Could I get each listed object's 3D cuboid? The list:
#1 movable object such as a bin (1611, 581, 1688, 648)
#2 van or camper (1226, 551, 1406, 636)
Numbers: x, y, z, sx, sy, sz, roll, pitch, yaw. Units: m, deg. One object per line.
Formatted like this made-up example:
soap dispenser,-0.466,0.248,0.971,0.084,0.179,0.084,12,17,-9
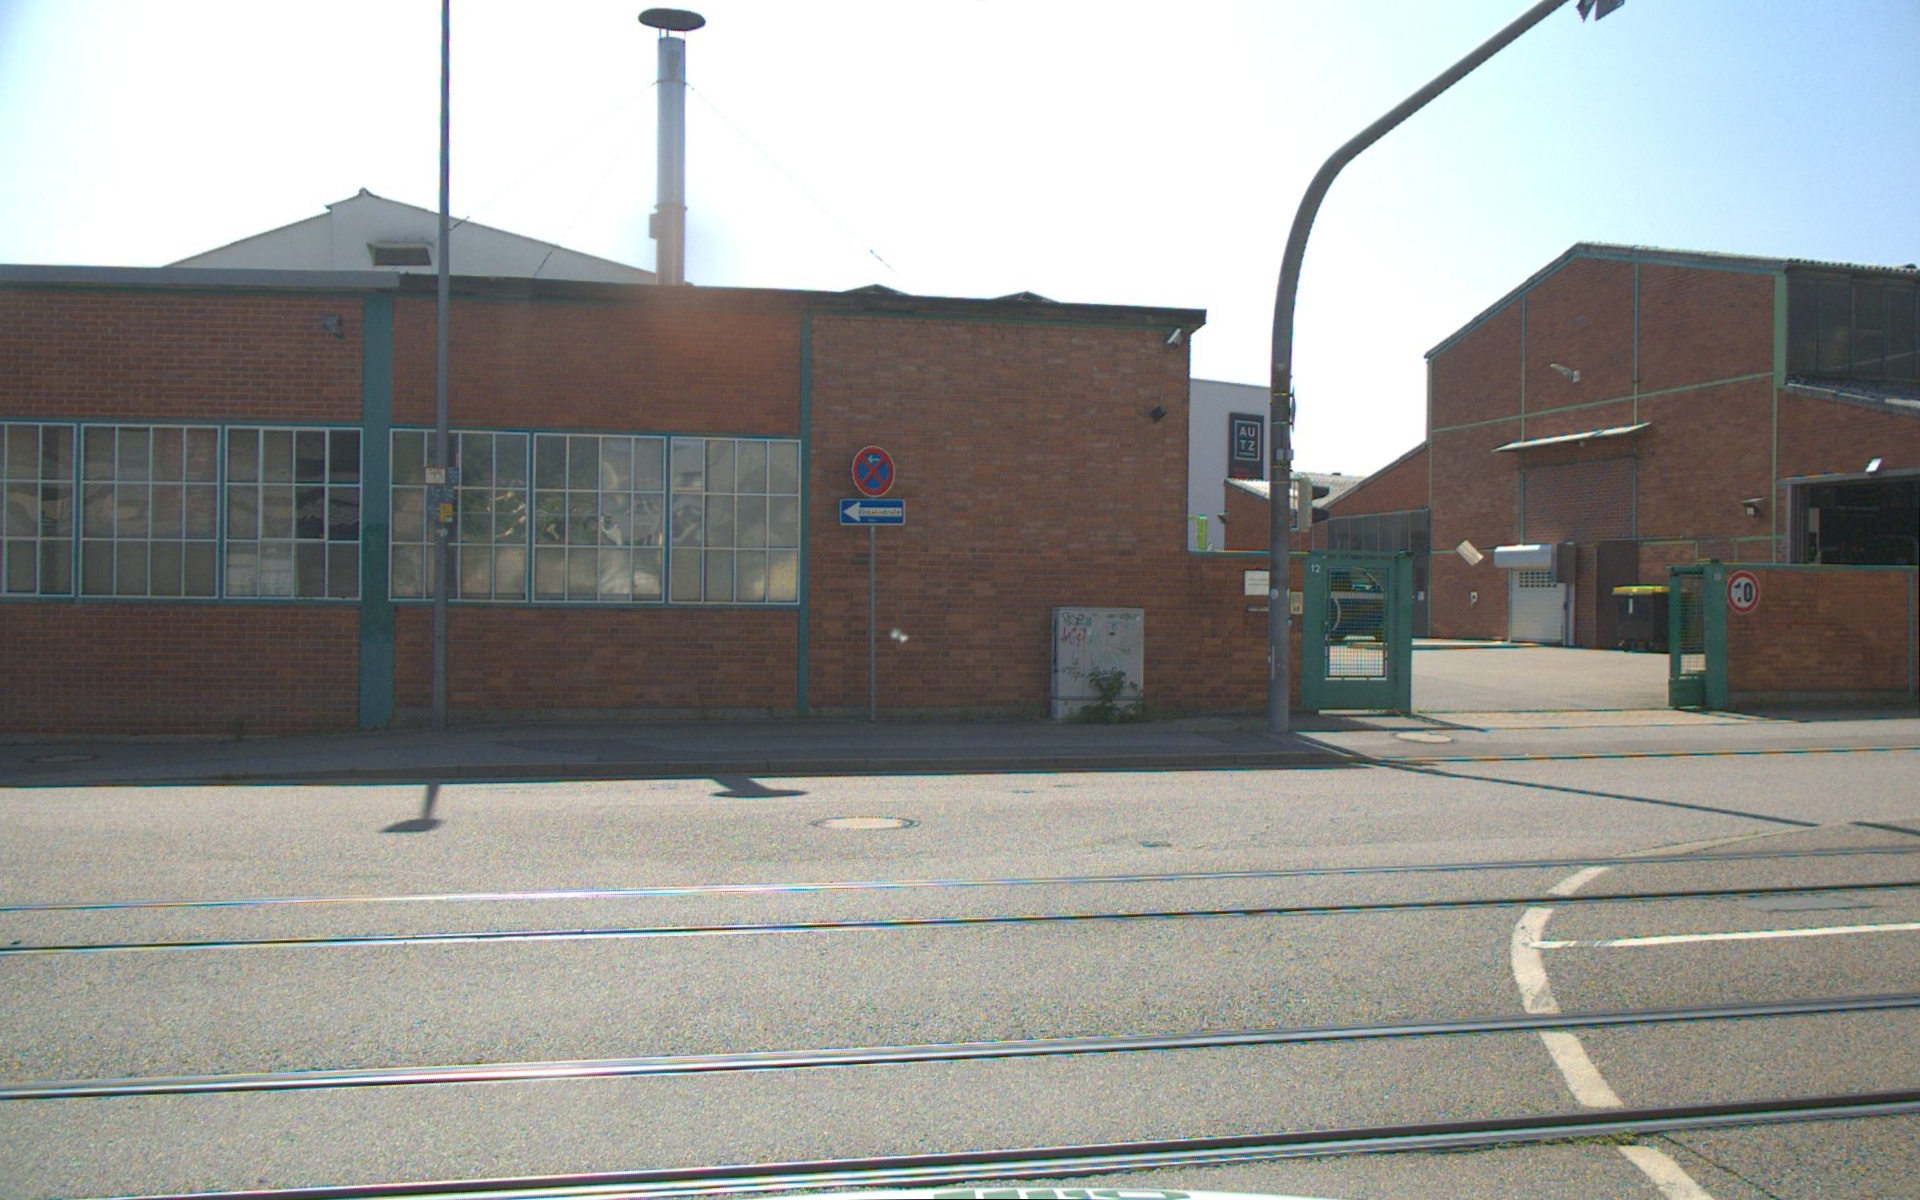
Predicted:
movable object such as a bin,14.167,0.295,34.023,0.958,1.337,1.147,-1,0,-16
van or camper,9.013,-0.140,41.734,4.370,1.933,1.976,3,-1,-35
